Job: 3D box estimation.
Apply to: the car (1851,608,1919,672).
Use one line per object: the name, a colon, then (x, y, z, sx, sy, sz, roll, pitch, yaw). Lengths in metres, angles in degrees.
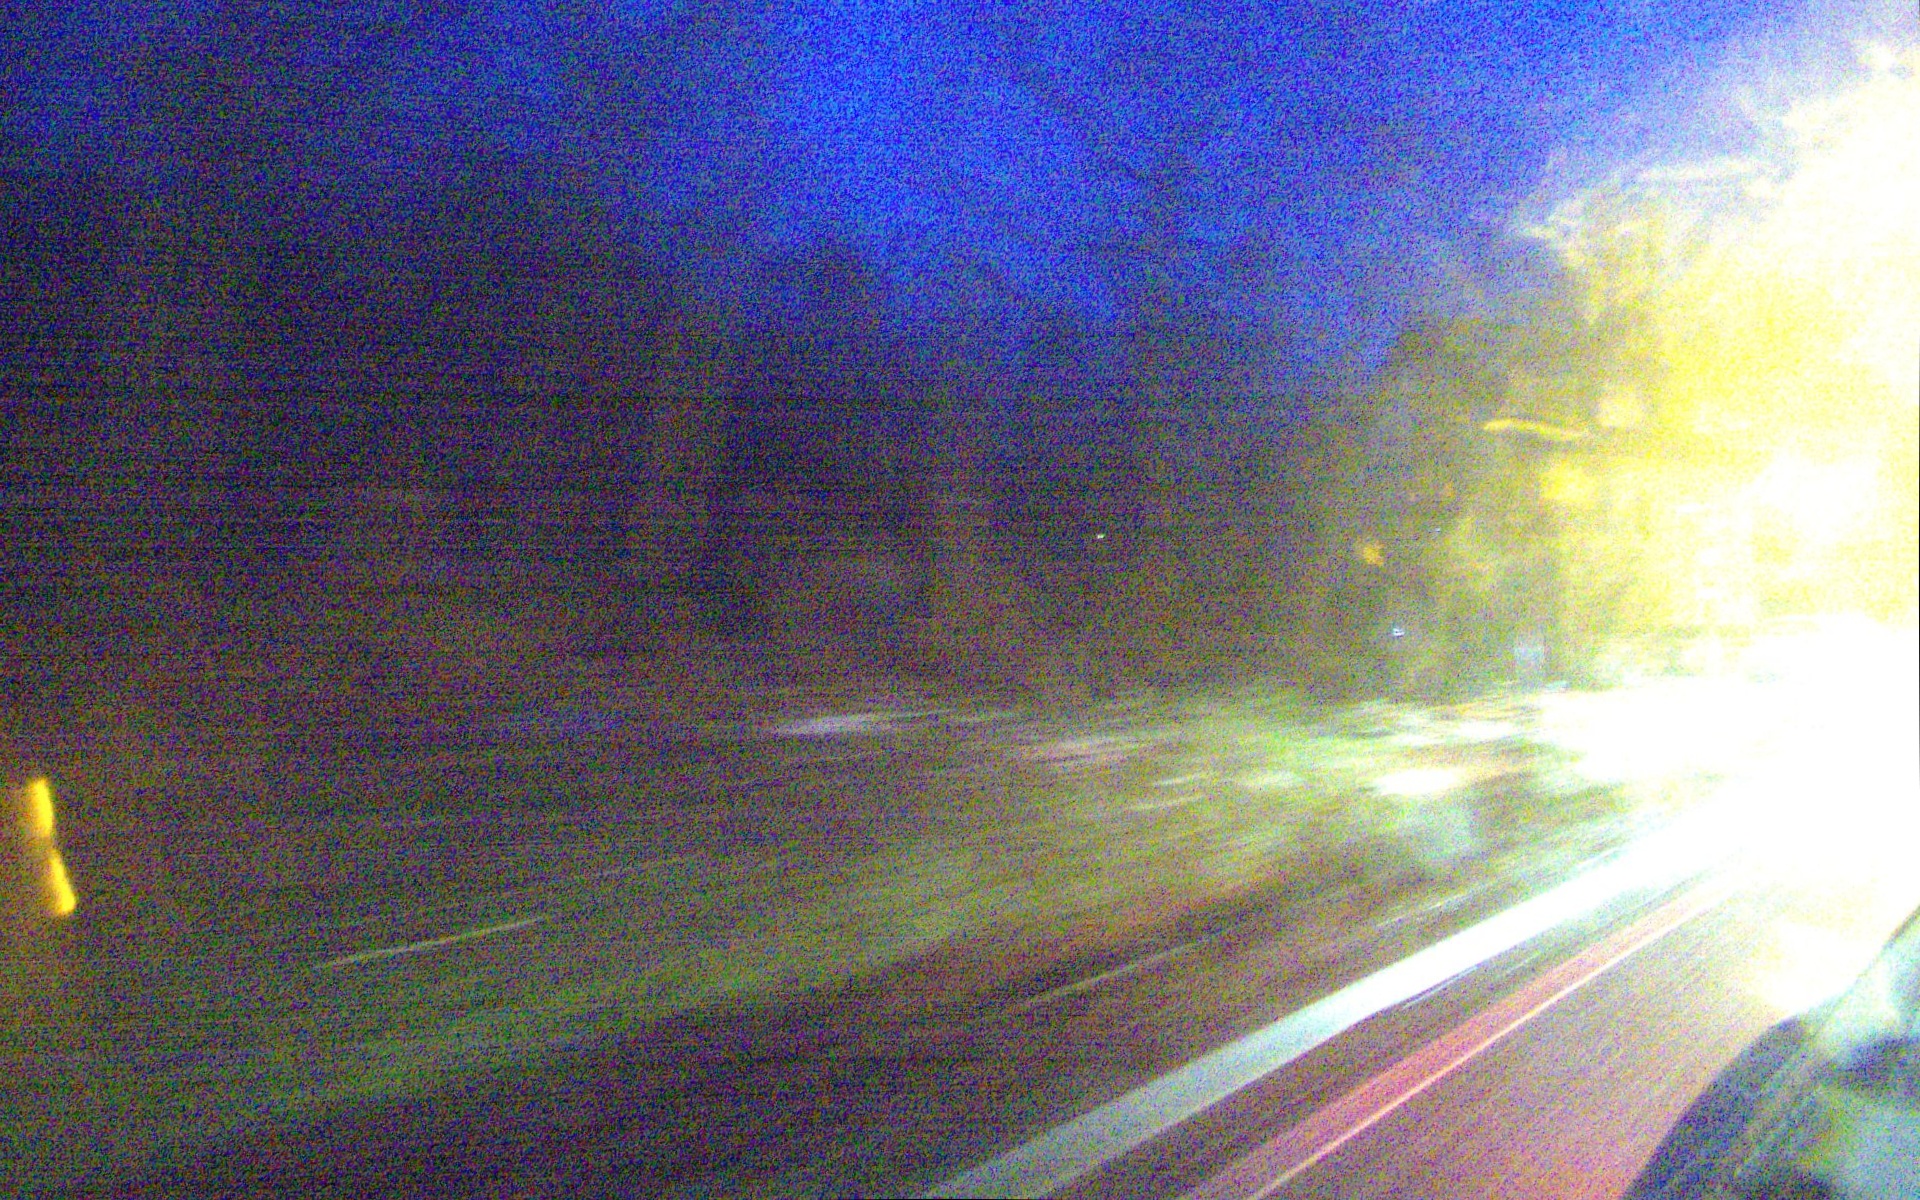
car: (22.943, 0.931, 23.878, 3.599, 1.416, 1.643, 1, 0, -26)

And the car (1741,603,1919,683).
car: (18.893, 0.936, 21.903, 3.723, 1.586, 1.682, 2, -1, -26)

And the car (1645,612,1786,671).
car: (21.659, 1.190, 29.008, 3.599, 1.529, 1.644, 2, 1, -24)

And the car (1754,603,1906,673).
car: (22.628, 0.983, 26.319, 3.461, 1.640, 1.644, 2, 1, -24)
